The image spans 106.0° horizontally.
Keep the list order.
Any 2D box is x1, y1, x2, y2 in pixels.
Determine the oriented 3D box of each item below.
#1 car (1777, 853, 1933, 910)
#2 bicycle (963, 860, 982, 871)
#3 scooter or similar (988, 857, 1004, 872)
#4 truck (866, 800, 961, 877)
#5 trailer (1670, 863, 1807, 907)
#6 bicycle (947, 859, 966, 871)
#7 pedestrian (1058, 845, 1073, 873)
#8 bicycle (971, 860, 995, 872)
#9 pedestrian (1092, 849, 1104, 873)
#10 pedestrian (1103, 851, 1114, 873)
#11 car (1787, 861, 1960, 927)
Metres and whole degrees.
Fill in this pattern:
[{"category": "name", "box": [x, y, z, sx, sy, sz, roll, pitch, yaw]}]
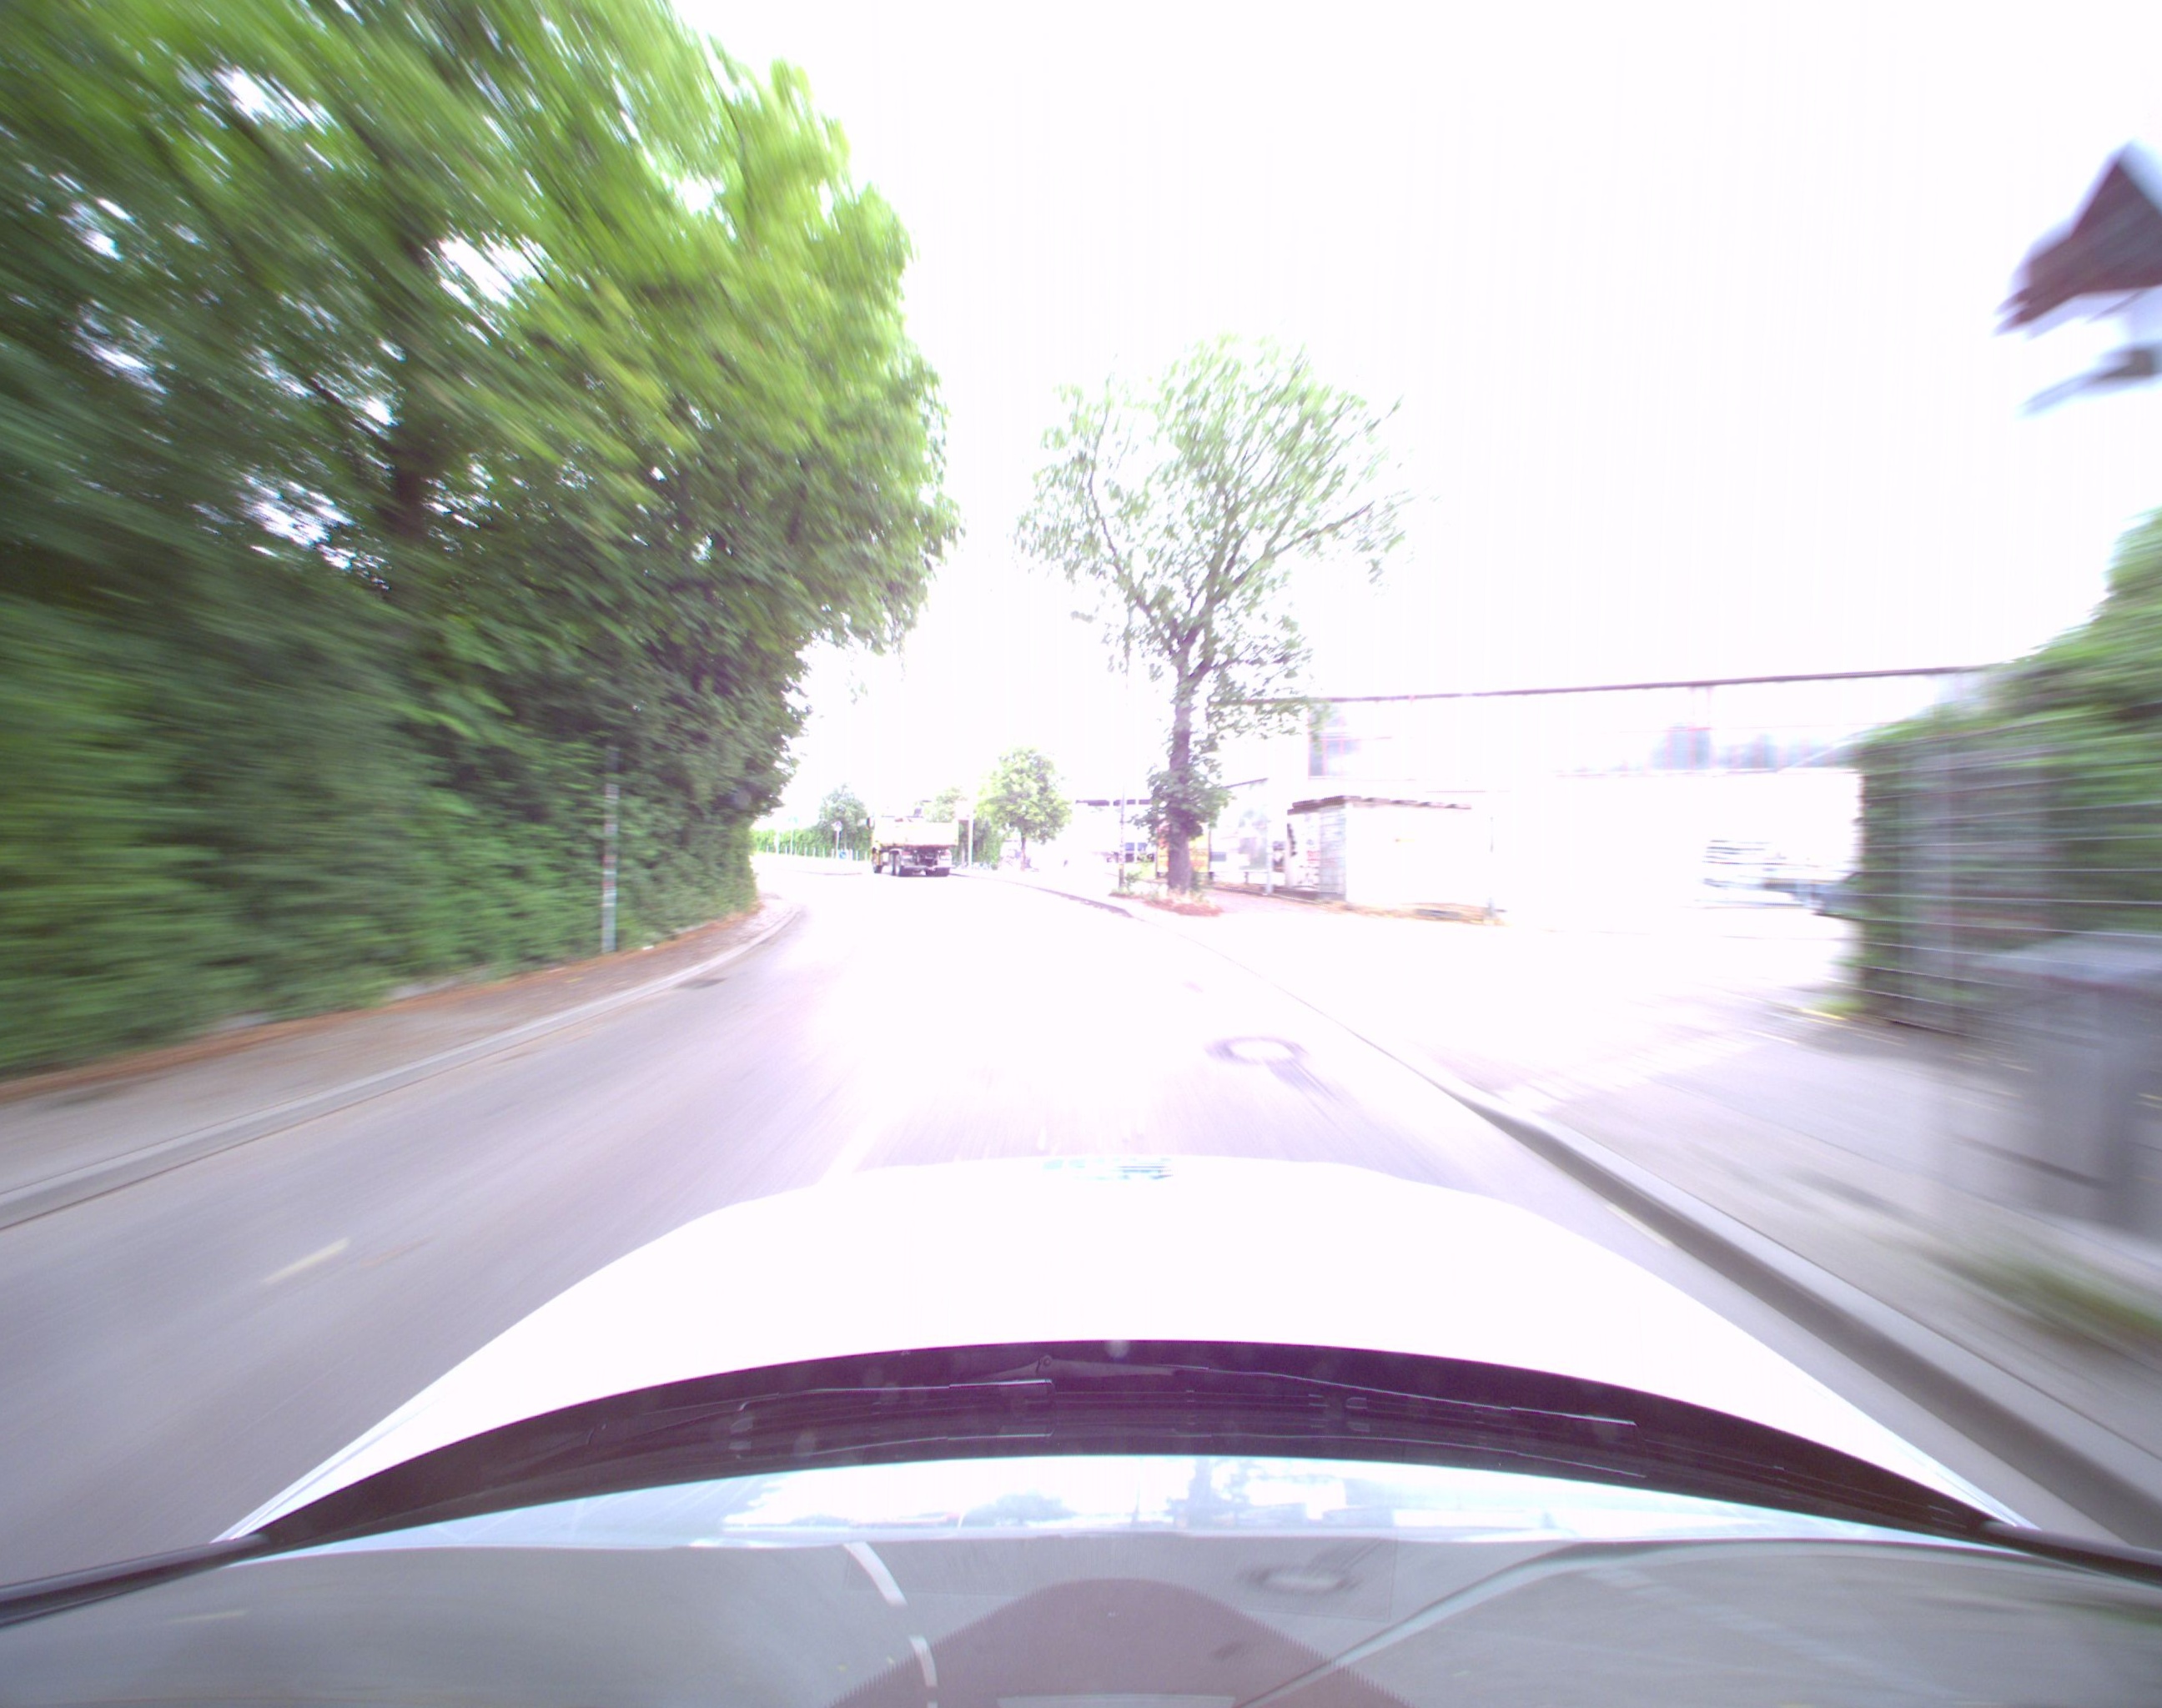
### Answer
[{"category": "car", "box": [21.399, 0.725, 22.628, 2.821, 1.440, 1.378, 1, 1, 20]}, {"category": "bicycle", "box": [-9.413, 1.008, 70.682, 1.585, 0.854, 0.459, 5, -2, -32]}, {"category": "scooter or similar", "box": [-7.250, 0.922, 69.338, 1.195, 1.206, 0.463, 4, -3, -32]}, {"category": "truck", "box": [-8.636, -0.815, 41.205, 2.778, 3.483, 8.062, 2, 1, -26]}, {"category": "trailer", "box": [18.850, 0.870, 23.481, 2.609, 1.137, 1.858, 1, 0, 19]}, {"category": "bicycle", "box": [-10.825, 0.972, 70.702, 1.491, 0.989, 0.690, 4, -1, -17]}, {"category": "pedestrian", "box": [-0.943, 0.325, 50.194, 0.845, 1.684, 0.940, 0, -2, 1]}, {"category": "bicycle", "box": [-8.408, 1.036, 70.123, 1.980, 0.865, 0.505, 6, -3, -35]}, {"category": "pedestrian", "box": [1.236, 0.501, 58.826, 0.810, 1.703, 0.750, 0, -2, 5]}, {"category": "pedestrian", "box": [2.039, 0.589, 60.205, 0.796, 1.583, 0.803, 0, -2, 5]}, {"category": "car", "box": [18.427, 0.861, 19.133, 1.456, 1.252, 3.385, 0, 2, 15]}]
